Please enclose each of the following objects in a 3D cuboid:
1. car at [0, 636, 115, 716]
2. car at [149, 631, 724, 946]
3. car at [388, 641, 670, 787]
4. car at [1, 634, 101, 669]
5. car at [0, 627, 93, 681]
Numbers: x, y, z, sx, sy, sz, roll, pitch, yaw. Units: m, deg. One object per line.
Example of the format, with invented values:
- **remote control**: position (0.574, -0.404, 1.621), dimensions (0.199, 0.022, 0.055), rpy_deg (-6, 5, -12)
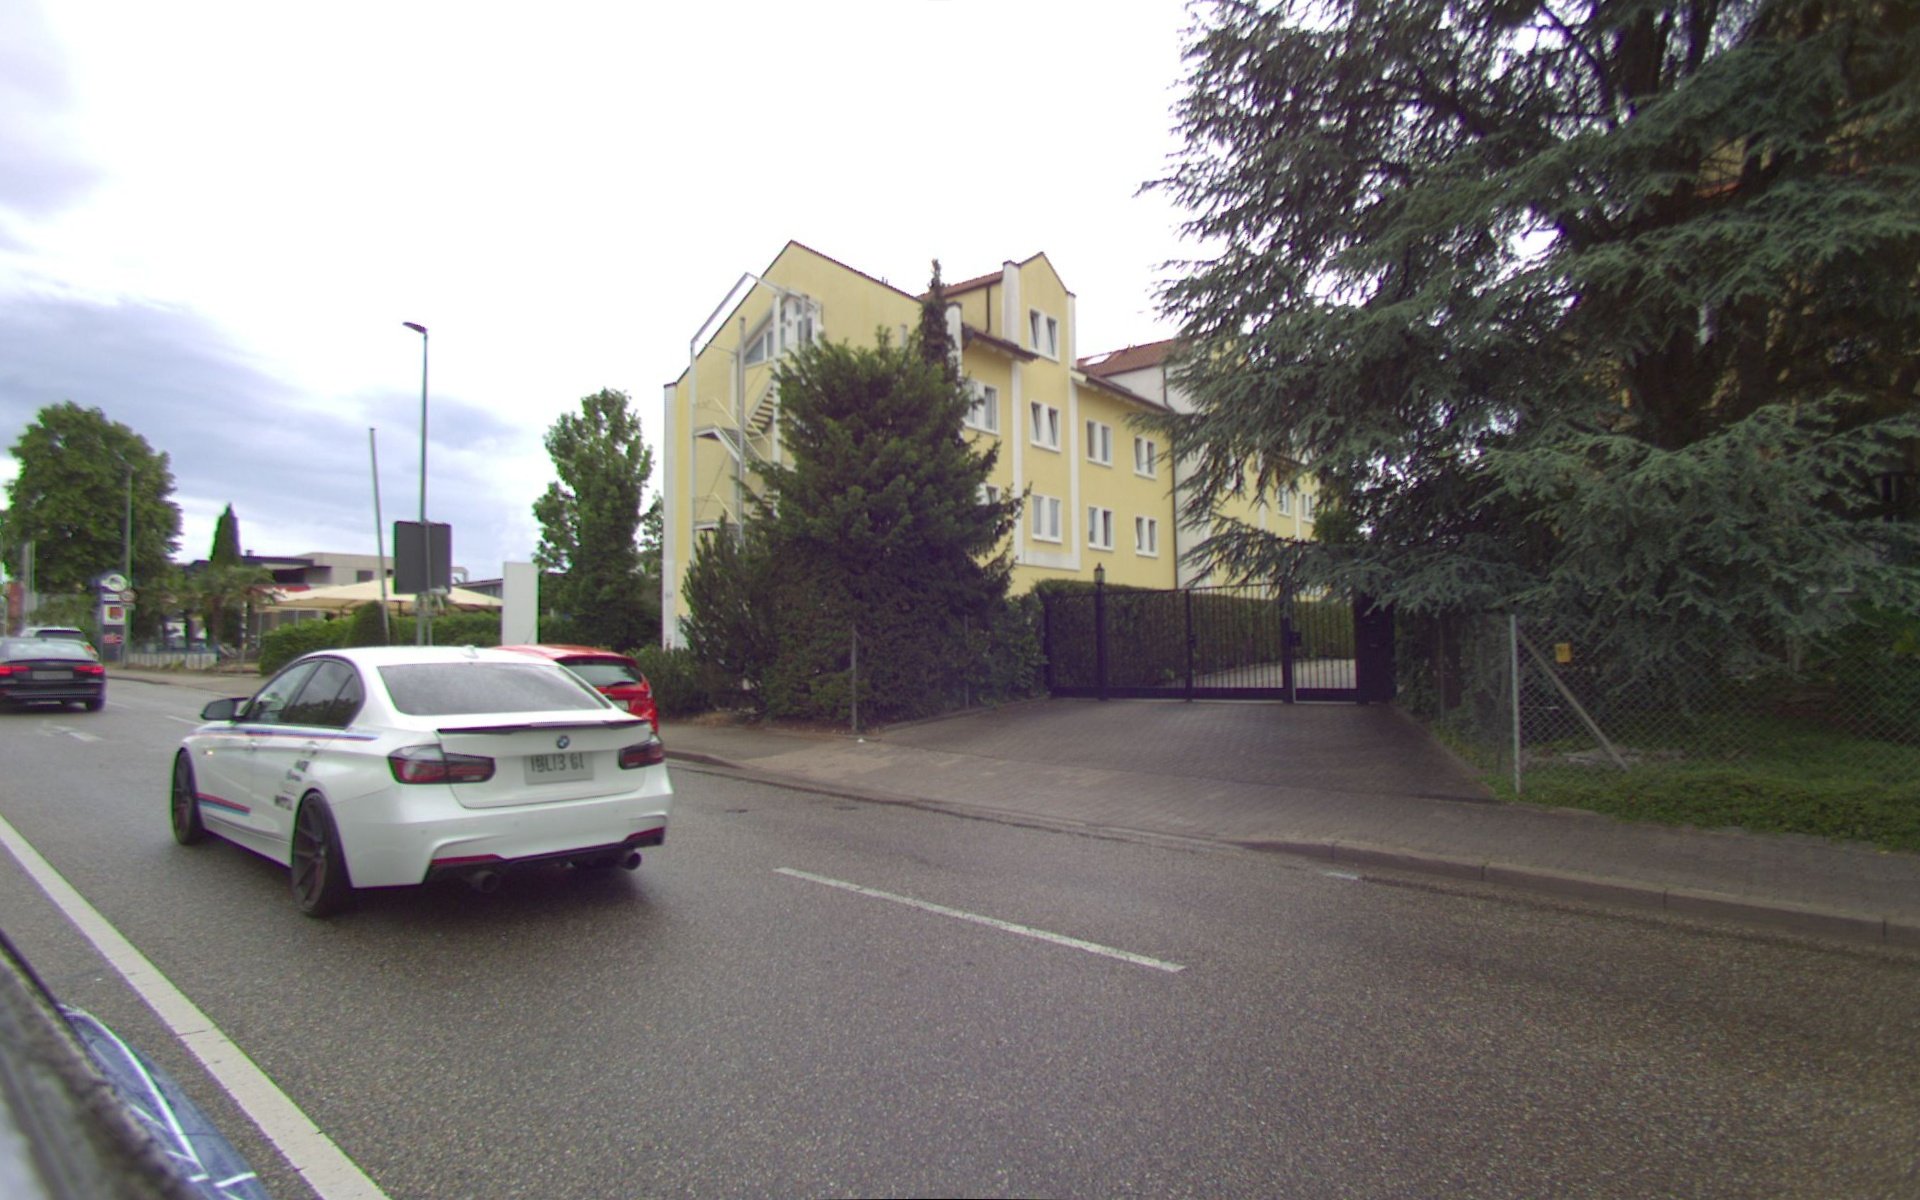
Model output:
- **car**: position (-18.201, 1.417, 19.840), dimensions (4.263, 1.414, 1.872), rpy_deg (-2, -3, 42)
- **car**: position (-3.624, 0.927, 6.612), dimensions (4.407, 1.395, 1.731), rpy_deg (-1, -4, 40)
- **car**: position (-5.276, 1.268, 12.221), dimensions (3.699, 1.467, 1.615), rpy_deg (-2, -4, 41)
- **car**: position (-57.553, 3.305, 64.185), dimensions (1.979, 2.029, 4.382), rpy_deg (-1, -5, 12)
- **car**: position (-32.504, 1.903, 35.869), dimensions (5.140, 1.776, 1.897), rpy_deg (-2, -5, 41)
